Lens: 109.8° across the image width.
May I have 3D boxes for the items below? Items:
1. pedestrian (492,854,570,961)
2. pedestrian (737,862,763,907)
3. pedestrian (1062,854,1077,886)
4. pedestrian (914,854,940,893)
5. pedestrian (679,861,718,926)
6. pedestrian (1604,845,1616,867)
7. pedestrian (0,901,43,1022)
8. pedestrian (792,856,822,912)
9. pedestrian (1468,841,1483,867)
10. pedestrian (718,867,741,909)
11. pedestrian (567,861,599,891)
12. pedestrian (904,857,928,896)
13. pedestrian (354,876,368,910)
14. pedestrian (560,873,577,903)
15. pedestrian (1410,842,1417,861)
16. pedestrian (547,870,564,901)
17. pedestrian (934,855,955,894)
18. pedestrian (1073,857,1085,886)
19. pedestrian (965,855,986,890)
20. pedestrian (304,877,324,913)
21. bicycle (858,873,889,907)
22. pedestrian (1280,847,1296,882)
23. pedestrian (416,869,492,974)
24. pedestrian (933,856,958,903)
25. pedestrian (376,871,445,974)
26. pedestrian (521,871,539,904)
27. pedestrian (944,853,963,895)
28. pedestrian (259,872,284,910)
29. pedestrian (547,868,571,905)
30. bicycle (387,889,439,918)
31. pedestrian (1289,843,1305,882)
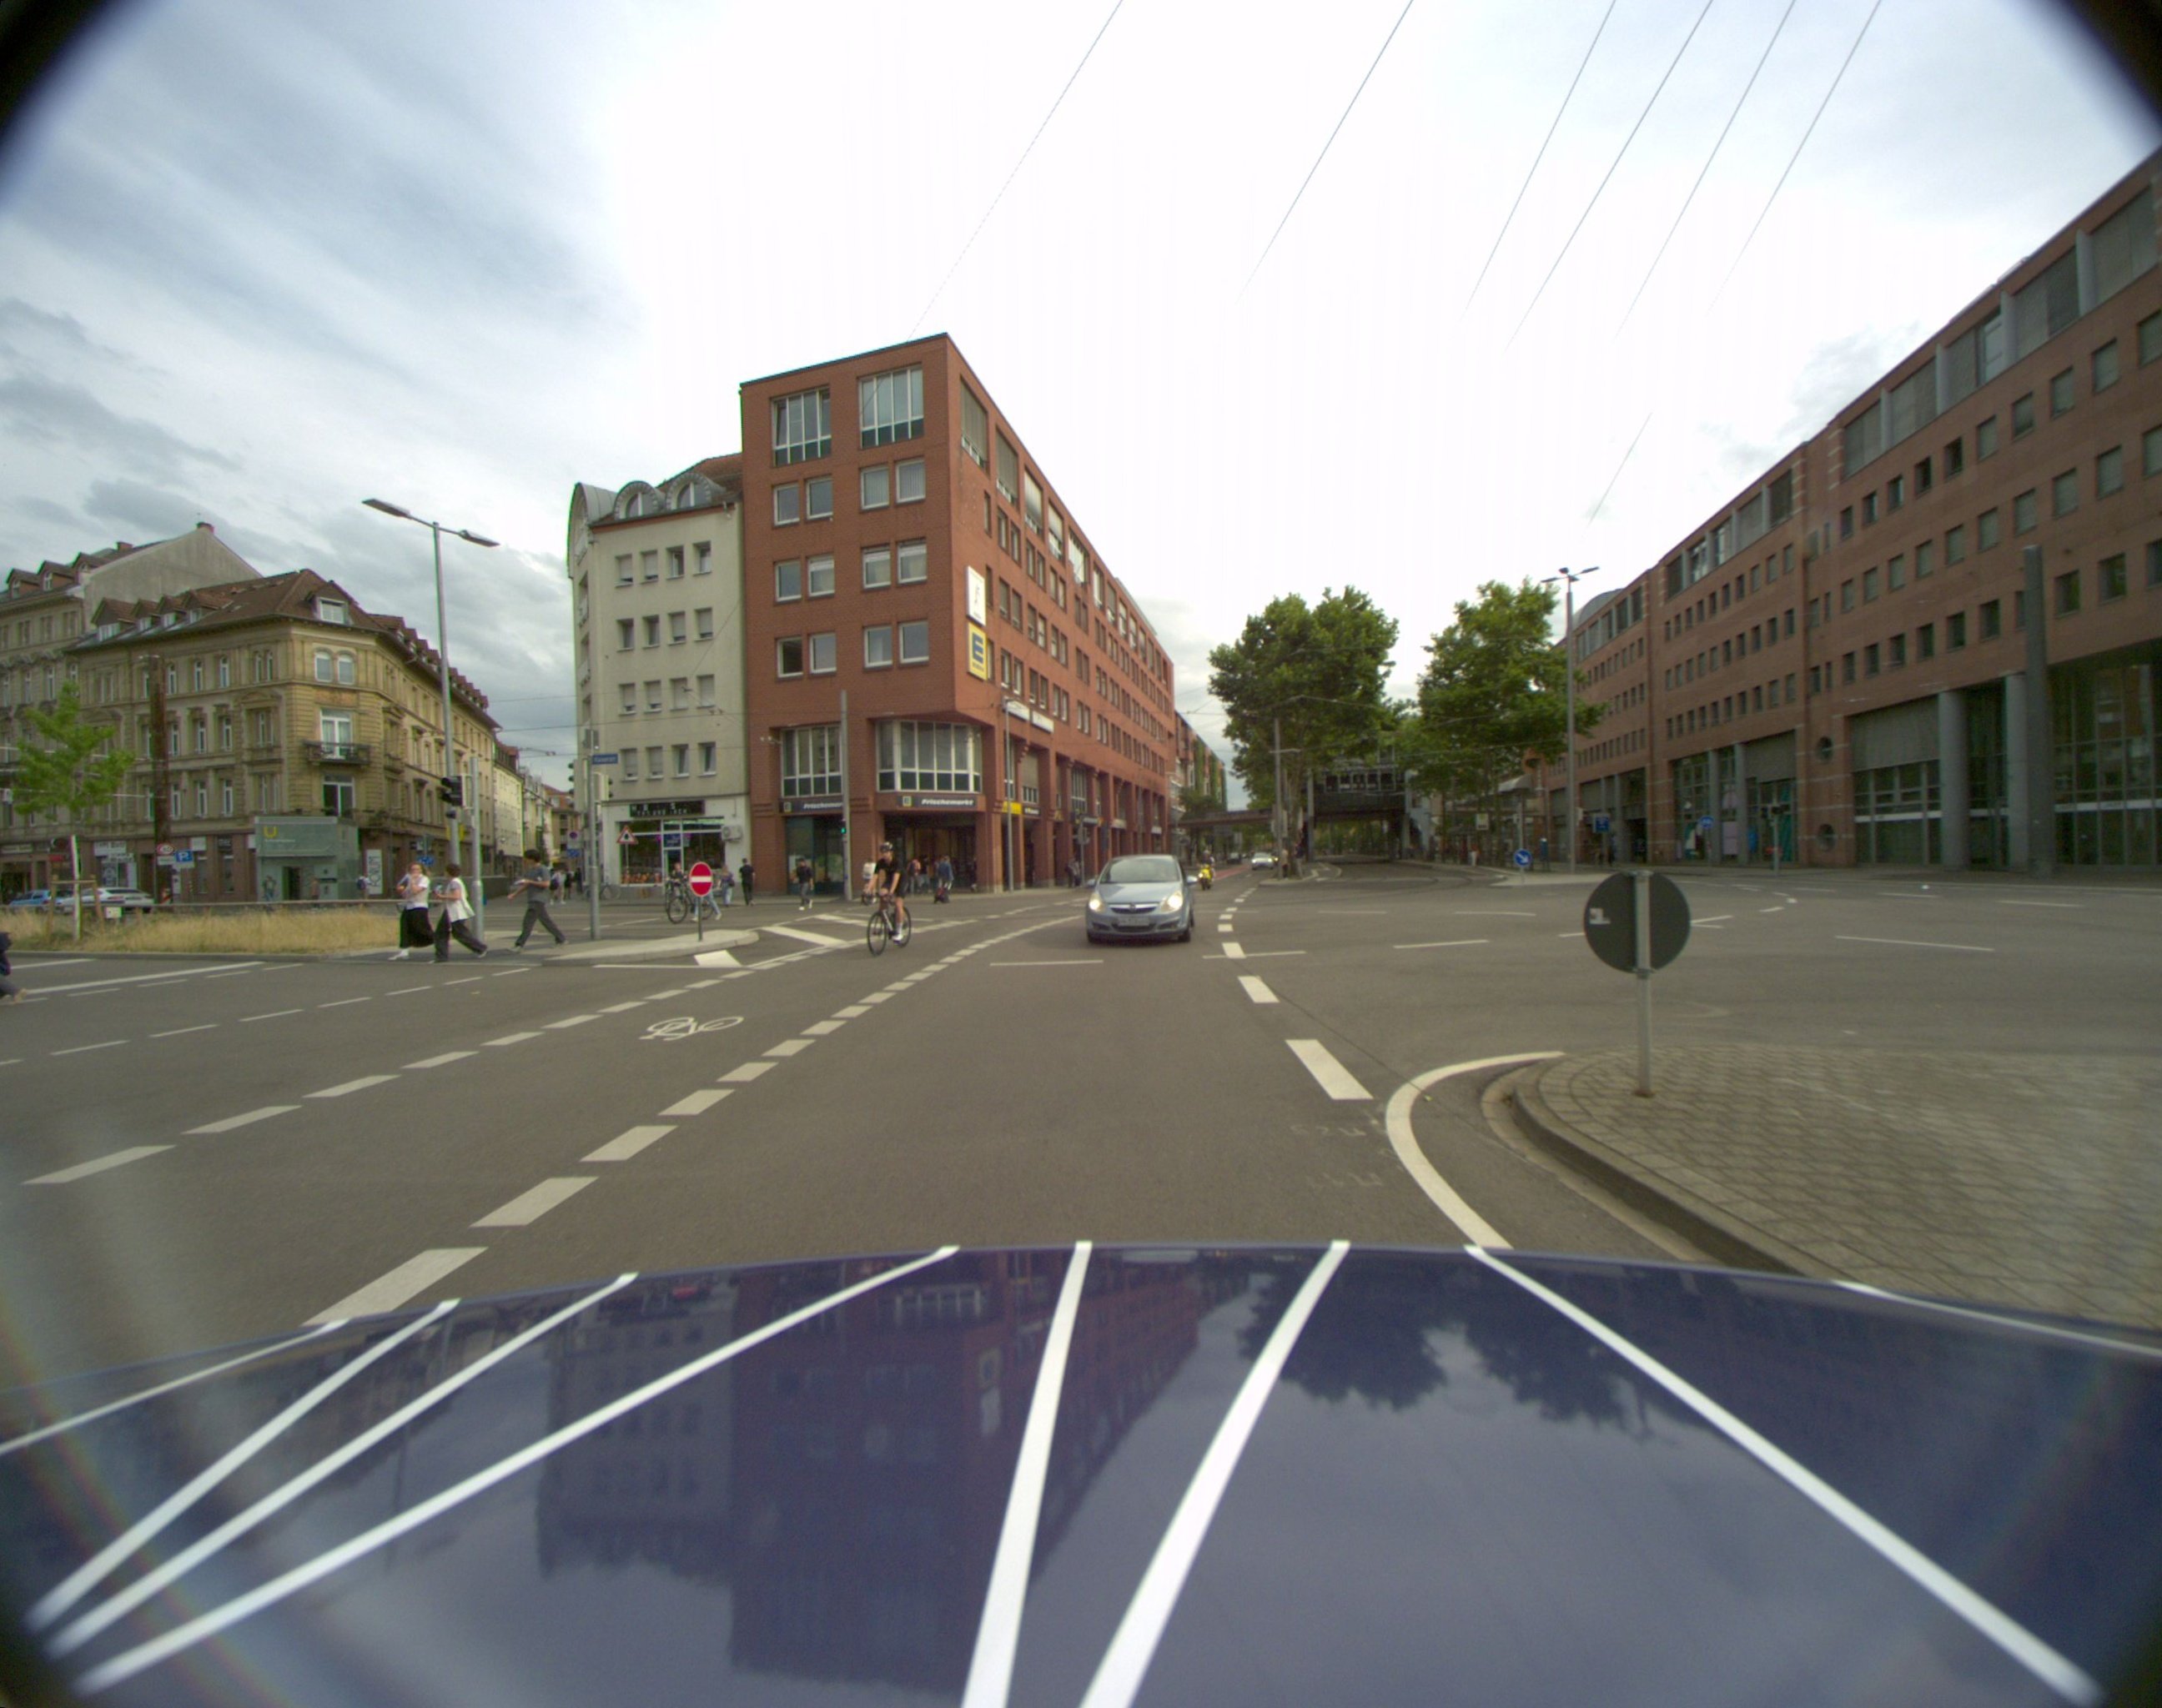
[{"bbox_3d":[-9.841,0.940,13.624,0.639,1.843,0.878,-2,0,17],"label":"pedestrian"},{"bbox_3d":[-12.441,1.155,28.570,0.708,1.638,0.720,-2,0,-36],"label":"pedestrian"},{"bbox_3d":[-0.612,0.862,40.838,0.646,1.686,0.698,0,1,14],"label":"pedestrian"},{"bbox_3d":[-6.887,0.875,34.078,0.648,1.704,1.057,-2,1,17],"label":"pedestrian"},{"bbox_3d":[-10.221,1.043,20.310,0.520,1.676,0.727,-2,0,17],"label":"pedestrian"},{"bbox_3d":[38.705,0.139,55.589,0.528,1.564,0.601,-2,1,17],"label":"pedestrian"},{"bbox_3d":[-13.833,1.371,9.451,0.552,1.492,0.847,-2,2,1],"label":"pedestrian"},{"bbox_3d":[-9.123,0.992,25.310,0.568,1.813,0.696,-2,0,16],"label":"pedestrian"},{"bbox_3d":[23.964,0.000,46.155,0.657,1.529,0.559,-2,3,13],"label":"pedestrian"},{"bbox_3d":[-13.103,1.256,28.307,0.594,1.502,0.628,-2,0,-36],"label":"pedestrian"},{"bbox_3d":[-31.333,1.396,47.838,1.163,1.818,1.132,-2,1,7],"label":"pedestrian"},{"bbox_3d":[-6.952,0.940,32.015,0.541,1.642,0.894,-2,0,17],"label":"pedestrian"},{"bbox_3d":[-36.158,1.961,38.147,0.425,1.675,0.514,-2,0,-40],"label":"pedestrian"},{"bbox_3d":[-28.571,1.870,42.337,0.543,1.626,0.584,-1,1,37],"label":"pedestrian"},{"bbox_3d":[31.303,-0.273,71.547,0.481,1.761,0.482,-2,1,9],"label":"pedestrian"},{"bbox_3d":[-28.910,1.731,41.806,0.518,1.712,0.542,-1,1,37],"label":"pedestrian"},{"bbox_3d":[-6.059,0.901,33.767,0.648,1.679,0.651,-2,2,16],"label":"pedestrian"},{"bbox_3d":[-0.131,0.967,42.633,0.406,1.622,0.733,0,1,24],"label":"pedestrian"},{"bbox_3d":[-4.967,0.872,35.821,0.619,1.591,0.923,-2,0,17],"label":"pedestrian"},{"bbox_3d":[-36.652,1.952,36.312,0.423,1.675,0.516,-2,0,18],"label":"pedestrian"},{"bbox_3d":[-7.644,1.306,28.033,0.391,1.115,2.077,-1,1,5],"label":"bicycle"},{"bbox_3d":[10.778,0.559,39.549,0.534,1.781,0.578,-2,1,37],"label":"pedestrian"},{"bbox_3d":[-10.441,1.106,12.668,0.469,1.676,0.797,-2,1,12],"label":"pedestrian"},{"bbox_3d":[-5.001,0.937,28.065,0.639,1.677,0.601,-2,0,16],"label":"pedestrian"},{"bbox_3d":[-11.563,1.152,13.128,0.636,1.685,0.705,-2,0,-21],"label":"pedestrian"},{"bbox_3d":[-29.794,1.801,41.062,0.518,1.712,0.593,-1,1,37],"label":"pedestrian"},{"bbox_3d":[-5.381,0.843,32.144,0.541,1.787,0.562,-2,0,16],"label":"pedestrian"},{"bbox_3d":[-37.560,1.719,35.269,0.731,1.676,0.606,-1,4,40],"label":"pedestrian"},{"bbox_3d":[-23.341,1.459,33.974,0.719,1.617,0.791,-2,0,-41],"label":"pedestrian"},{"bbox_3d":[-26.551,1.955,30.209,1.917,1.080,0.392,-2,0,10],"label":"bicycle"},{"bbox_3d":[10.639,0.425,37.386,0.692,1.864,0.808,-2,0,17],"label":"pedestrian"}]
